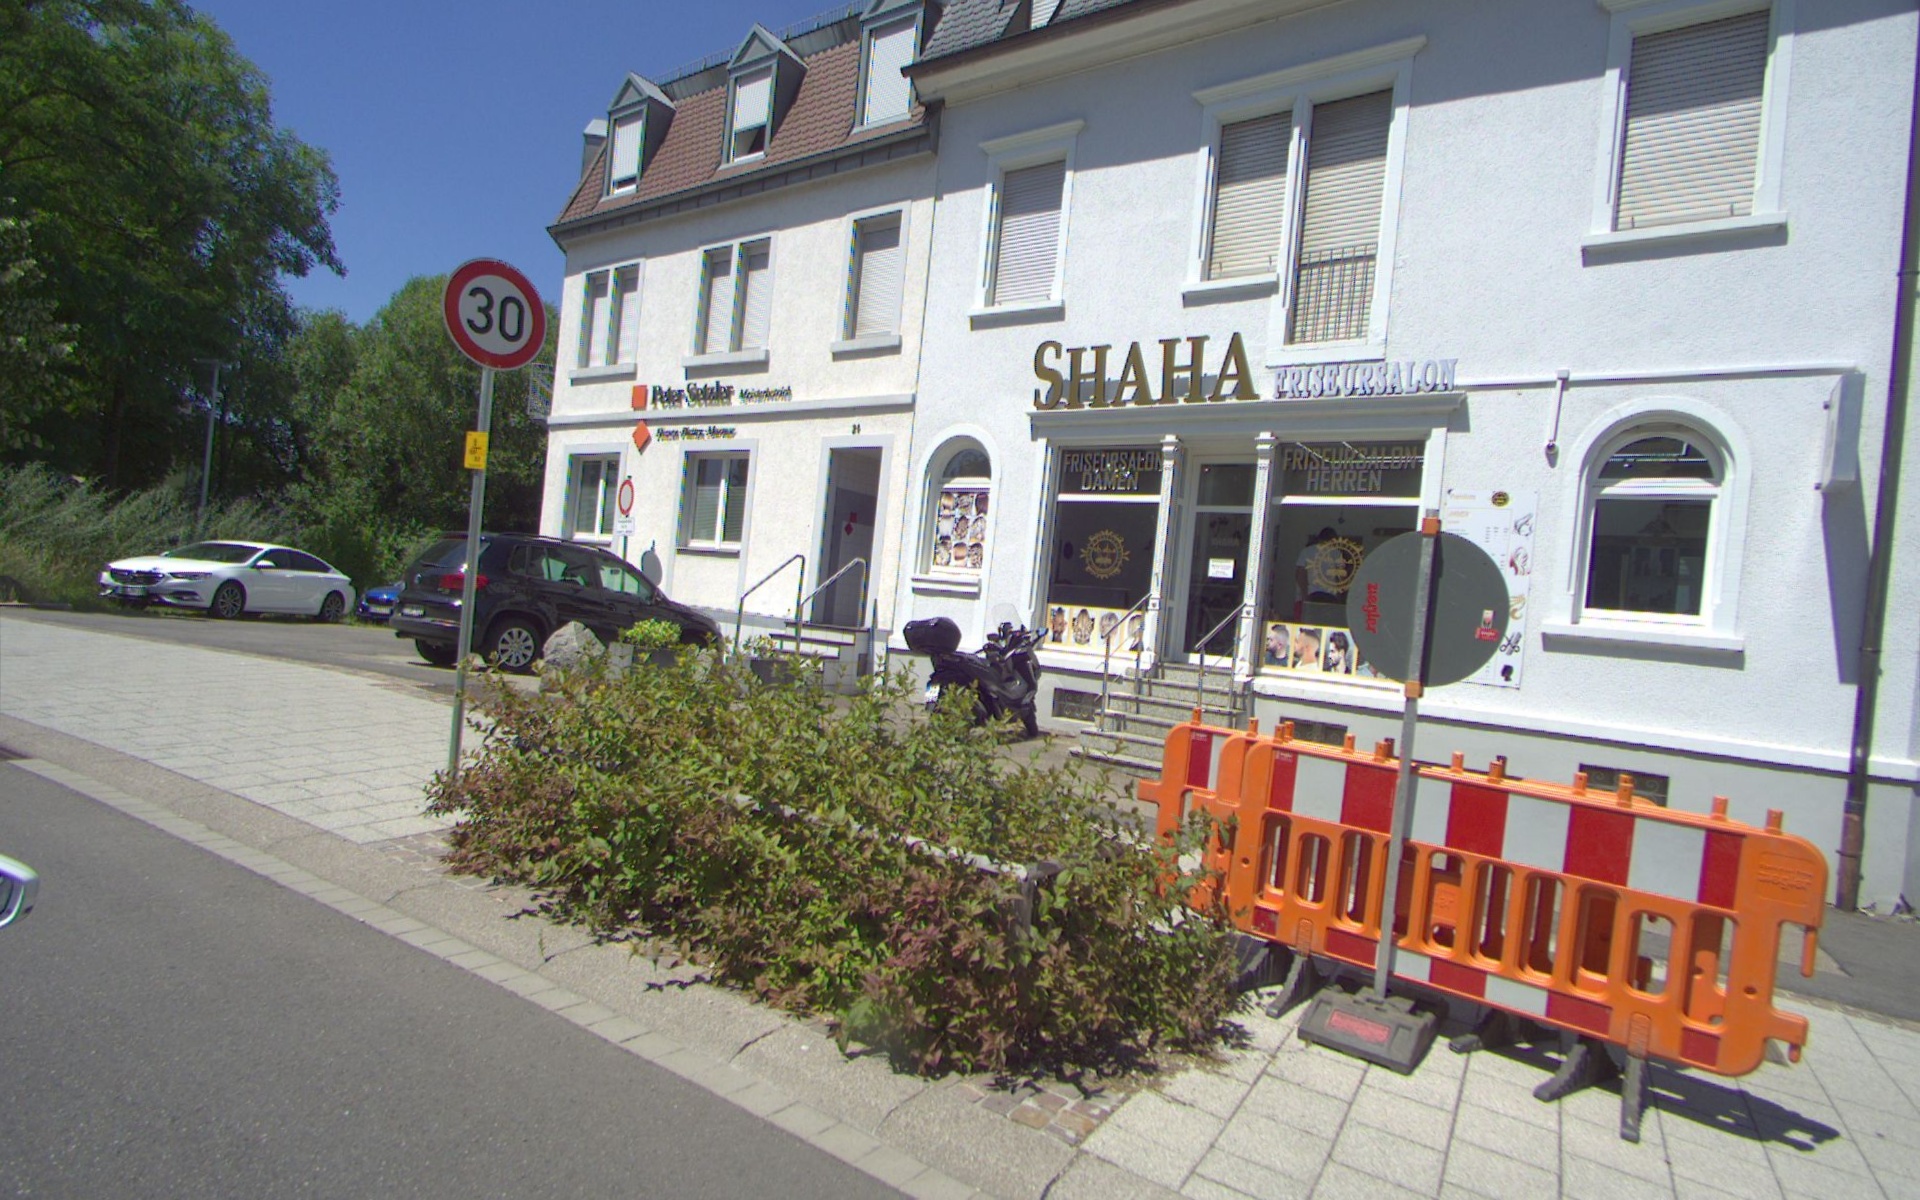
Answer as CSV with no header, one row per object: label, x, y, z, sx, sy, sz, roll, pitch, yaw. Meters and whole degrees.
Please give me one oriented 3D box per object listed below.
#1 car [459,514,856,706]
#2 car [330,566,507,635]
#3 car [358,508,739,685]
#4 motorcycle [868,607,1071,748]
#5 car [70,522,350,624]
car,-3.324,0.221,11.806,1.827,1.735,4.079,5,-3,35
car,-13.300,0.070,25.030,1.825,1.365,4.207,4,-2,4
car,-5.093,0.048,12.982,1.827,1.735,4.079,5,-3,35
motorcycle,0.177,0.859,10.856,0.843,1.290,2.377,6,-1,36
car,-13.402,-0.390,18.364,1.826,1.365,4.206,6,-2,0
